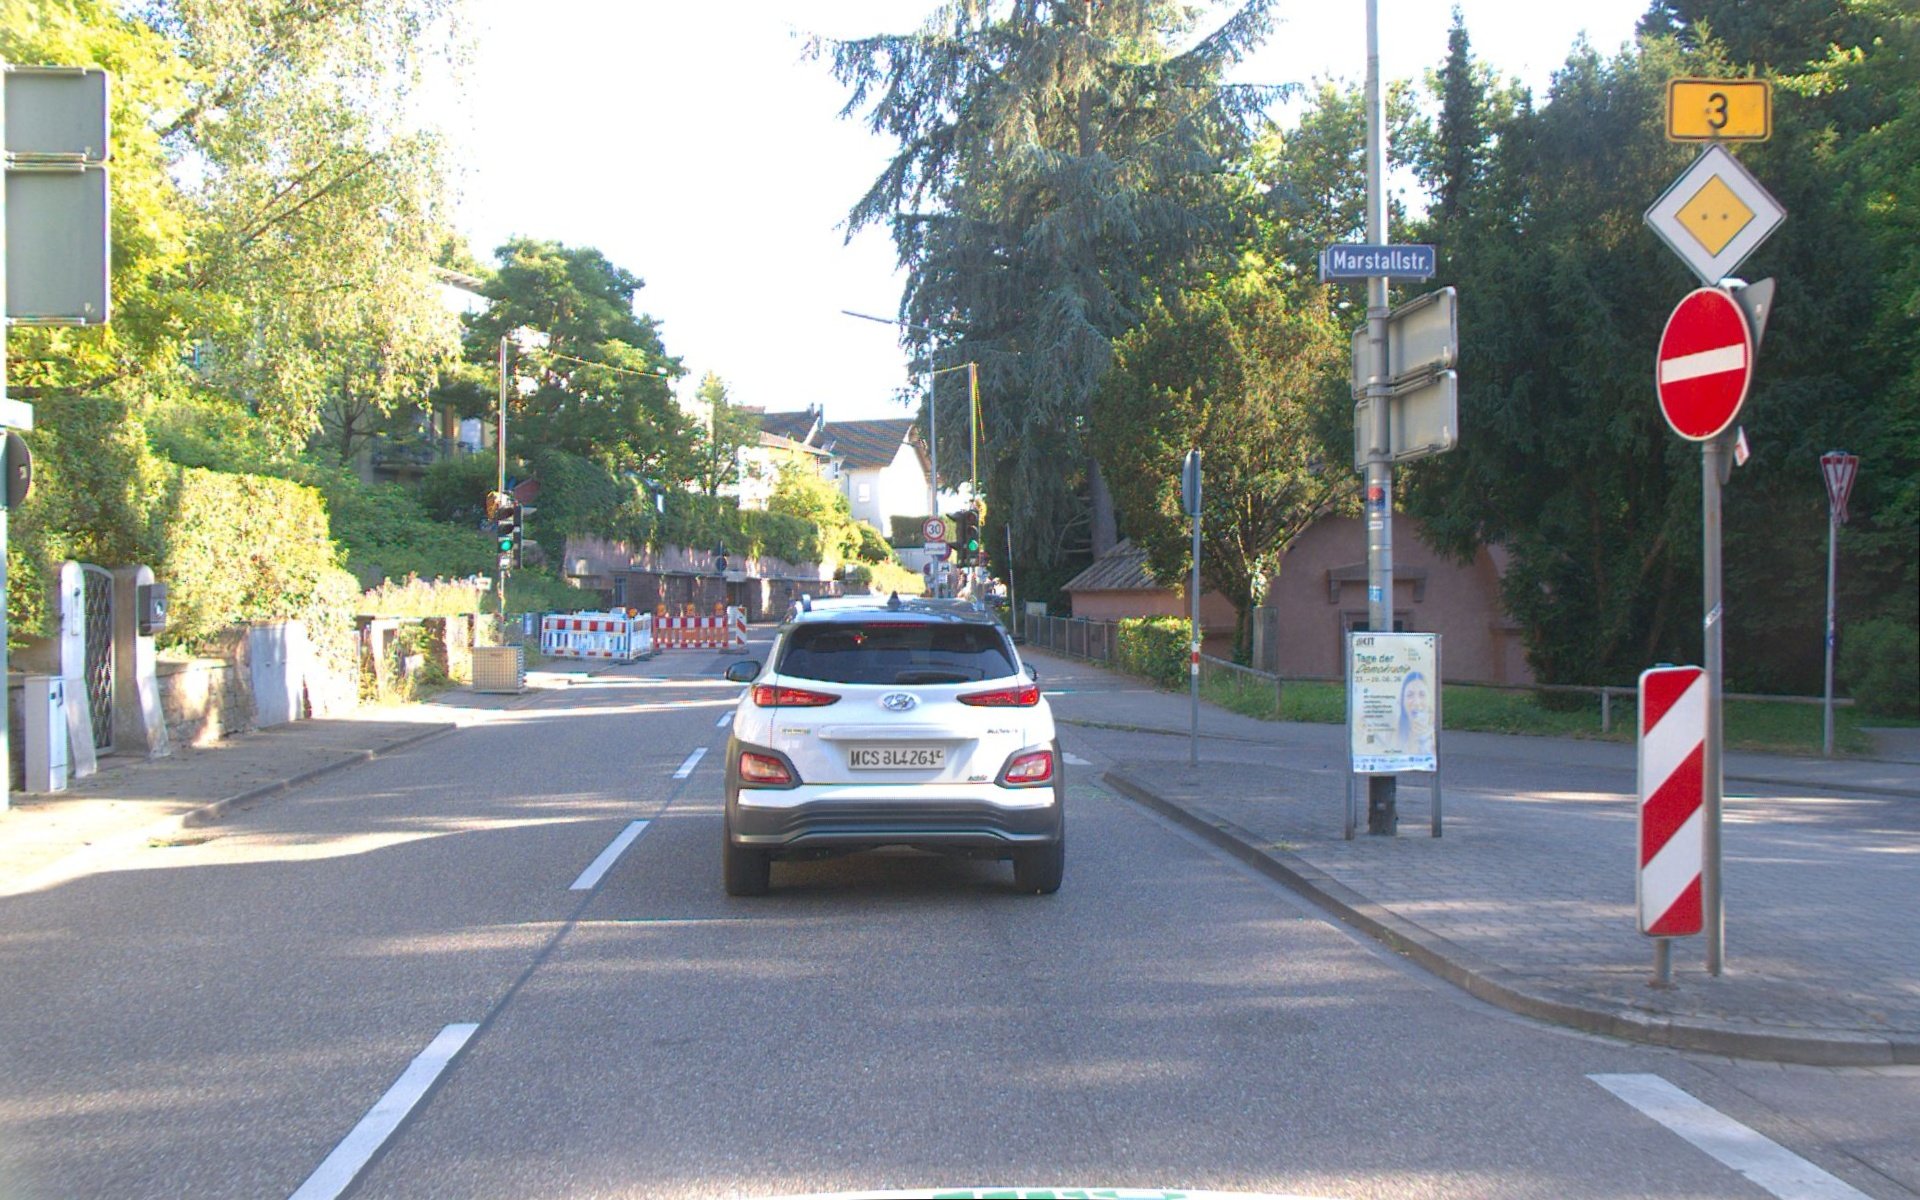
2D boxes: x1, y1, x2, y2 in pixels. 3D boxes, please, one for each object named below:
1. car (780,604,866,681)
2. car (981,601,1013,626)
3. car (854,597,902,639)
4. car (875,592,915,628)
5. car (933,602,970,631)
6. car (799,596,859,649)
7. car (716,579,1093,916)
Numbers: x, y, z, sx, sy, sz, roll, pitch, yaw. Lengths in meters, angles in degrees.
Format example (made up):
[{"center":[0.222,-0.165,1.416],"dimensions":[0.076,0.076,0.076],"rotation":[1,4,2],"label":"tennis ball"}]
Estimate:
[{"center":[-2.908,0.843,34.893],"dimensions":[1.675,1.459,4.360],"rotation":[1,0,-5],"label":"car"},{"center":[2.581,0.919,114.684],"dimensions":[1.793,1.691,4.003],"rotation":[1,0,7],"label":"car"},{"center":[-3.418,0.738,69.532],"dimensions":[1.794,1.691,4.000],"rotation":[1,0,0],"label":"car"},{"center":[-3.297,0.505,84.655],"dimensions":[1.794,1.771,4.000],"rotation":[1,0,1],"label":"car"},{"center":[-0.487,0.979,100.625],"dimensions":[1.793,1.691,4.003],"rotation":[1,0,6],"label":"car"},{"center":[-4.156,0.673,52.508],"dimensions":[1.770,1.564,3.996],"rotation":[1,0,-5],"label":"car"},{"center":[-0.432,0.710,9.978],"dimensions":[1.785,1.601,3.996],"rotation":[1,0,-5],"label":"car"}]
